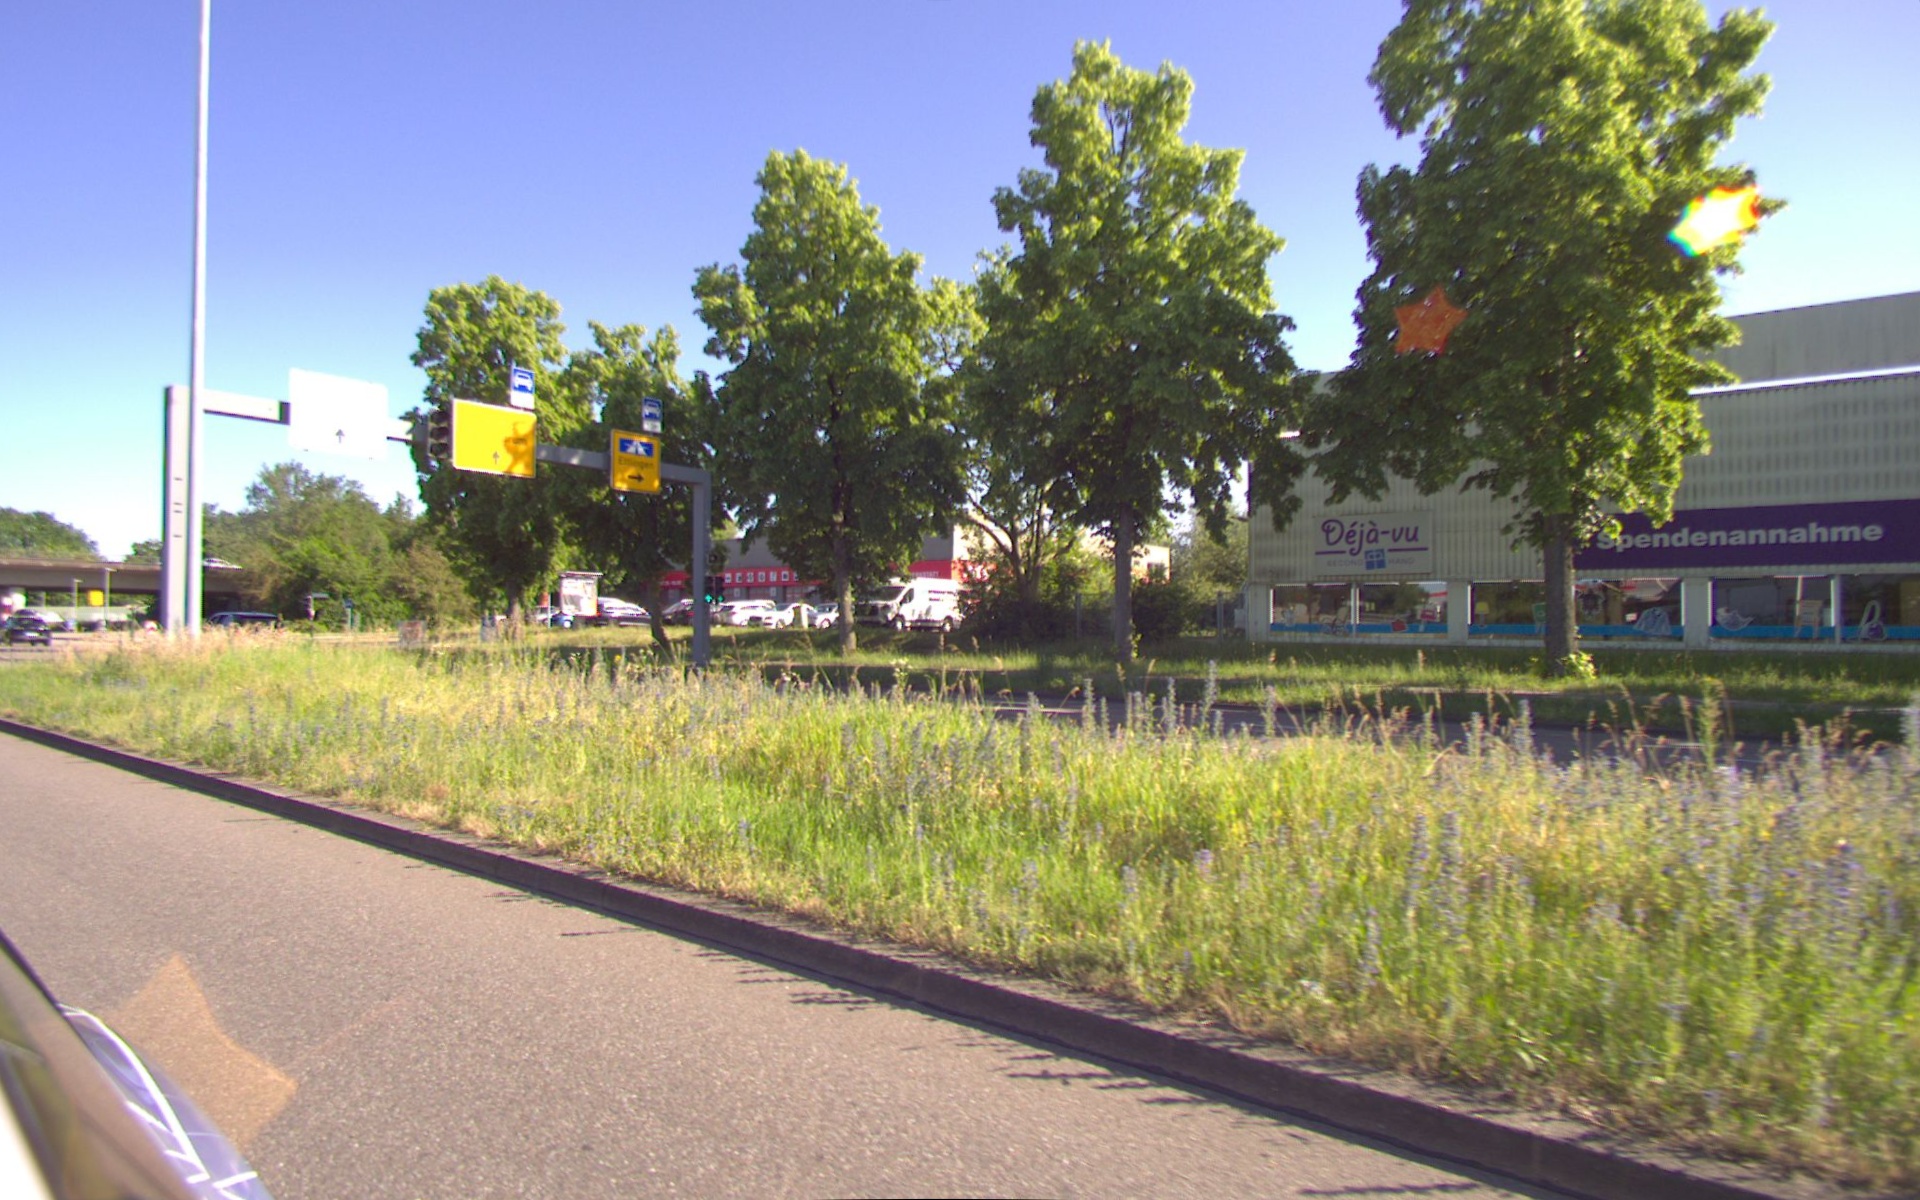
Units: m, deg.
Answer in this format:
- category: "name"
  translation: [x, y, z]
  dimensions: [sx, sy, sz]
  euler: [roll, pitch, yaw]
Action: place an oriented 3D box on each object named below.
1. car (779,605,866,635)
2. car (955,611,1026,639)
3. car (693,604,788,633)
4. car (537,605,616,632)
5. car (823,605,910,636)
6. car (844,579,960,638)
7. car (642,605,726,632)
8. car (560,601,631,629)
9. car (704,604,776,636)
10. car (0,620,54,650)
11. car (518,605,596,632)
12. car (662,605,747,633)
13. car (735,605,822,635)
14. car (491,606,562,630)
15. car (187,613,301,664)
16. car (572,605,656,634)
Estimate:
- category: "car"
  translation: [-6.531, 0.990, 48.505]
  dimensions: [1.941, 1.399, 4.085]
  euler: [-1, -2, 33]
- category: "car"
  translation: [1.718, 1.388, 55.880]
  dimensions: [1.893, 1.466, 4.078]
  euler: [-1, -2, 39]
- category: "car"
  translation: [-11.074, 0.990, 51.321]
  dimensions: [1.943, 1.399, 4.577]
  euler: [-1, -2, 37]
- category: "car"
  translation: [-23.024, 1.120, 60.819]
  dimensions: [1.818, 1.563, 4.074]
  euler: [-1, -2, 41]
- category: "car"
  translation: [-4.311, 0.983, 47.125]
  dimensions: [1.941, 1.399, 4.085]
  euler: [-1, -2, 33]
- category: "car"
  translation: [-2.492, 0.431, 45.235]
  dimensions: [2.200, 2.452, 5.830]
  euler: [-1, -2, 33]
- category: "car"
  translation: [-14.713, 1.008, 54.100]
  dimensions: [1.942, 1.399, 4.082]
  euler: [-1, -2, 35]
- category: "car"
  translation: [-28.972, 1.224, 80.482]
  dimensions: [4.983, 2.168, 1.893]
  euler: [0, -2, 5]
- category: "car"
  translation: [-14.217, 1.321, 65.207]
  dimensions: [5.126, 1.971, 1.761]
  euler: [-1, -2, 41]
- category: "car"
  translation: [-51.972, 1.939, 55.991]
  dimensions: [4.564, 1.554, 1.859]
  euler: [-1, -3, 37]
- category: "car"
  translation: [-24.807, 1.156, 62.397]
  dimensions: [4.068, 1.563, 1.897]
  euler: [2, -2, -43]
- category: "car"
  translation: [-13.159, 1.002, 52.340]
  dimensions: [1.941, 1.399, 4.085]
  euler: [-1, -2, 33]
- category: "car"
  translation: [-8.861, 0.996, 49.636]
  dimensions: [1.941, 1.399, 4.085]
  euler: [-1, -2, 33]
- category: "car"
  translation: [-28.830, 1.220, 67.305]
  dimensions: [4.061, 1.563, 1.901]
  euler: [1, -2, -31]
- category: "car"
  translation: [-25.580, 1.372, 36.117]
  dimensions: [4.621, 1.710, 1.924]
  euler: [-1, -4, 37]
- category: "car"
  translation: [-19.398, 1.104, 56.820]
  dimensions: [1.944, 1.563, 4.077]
  euler: [-1, -2, 39]
